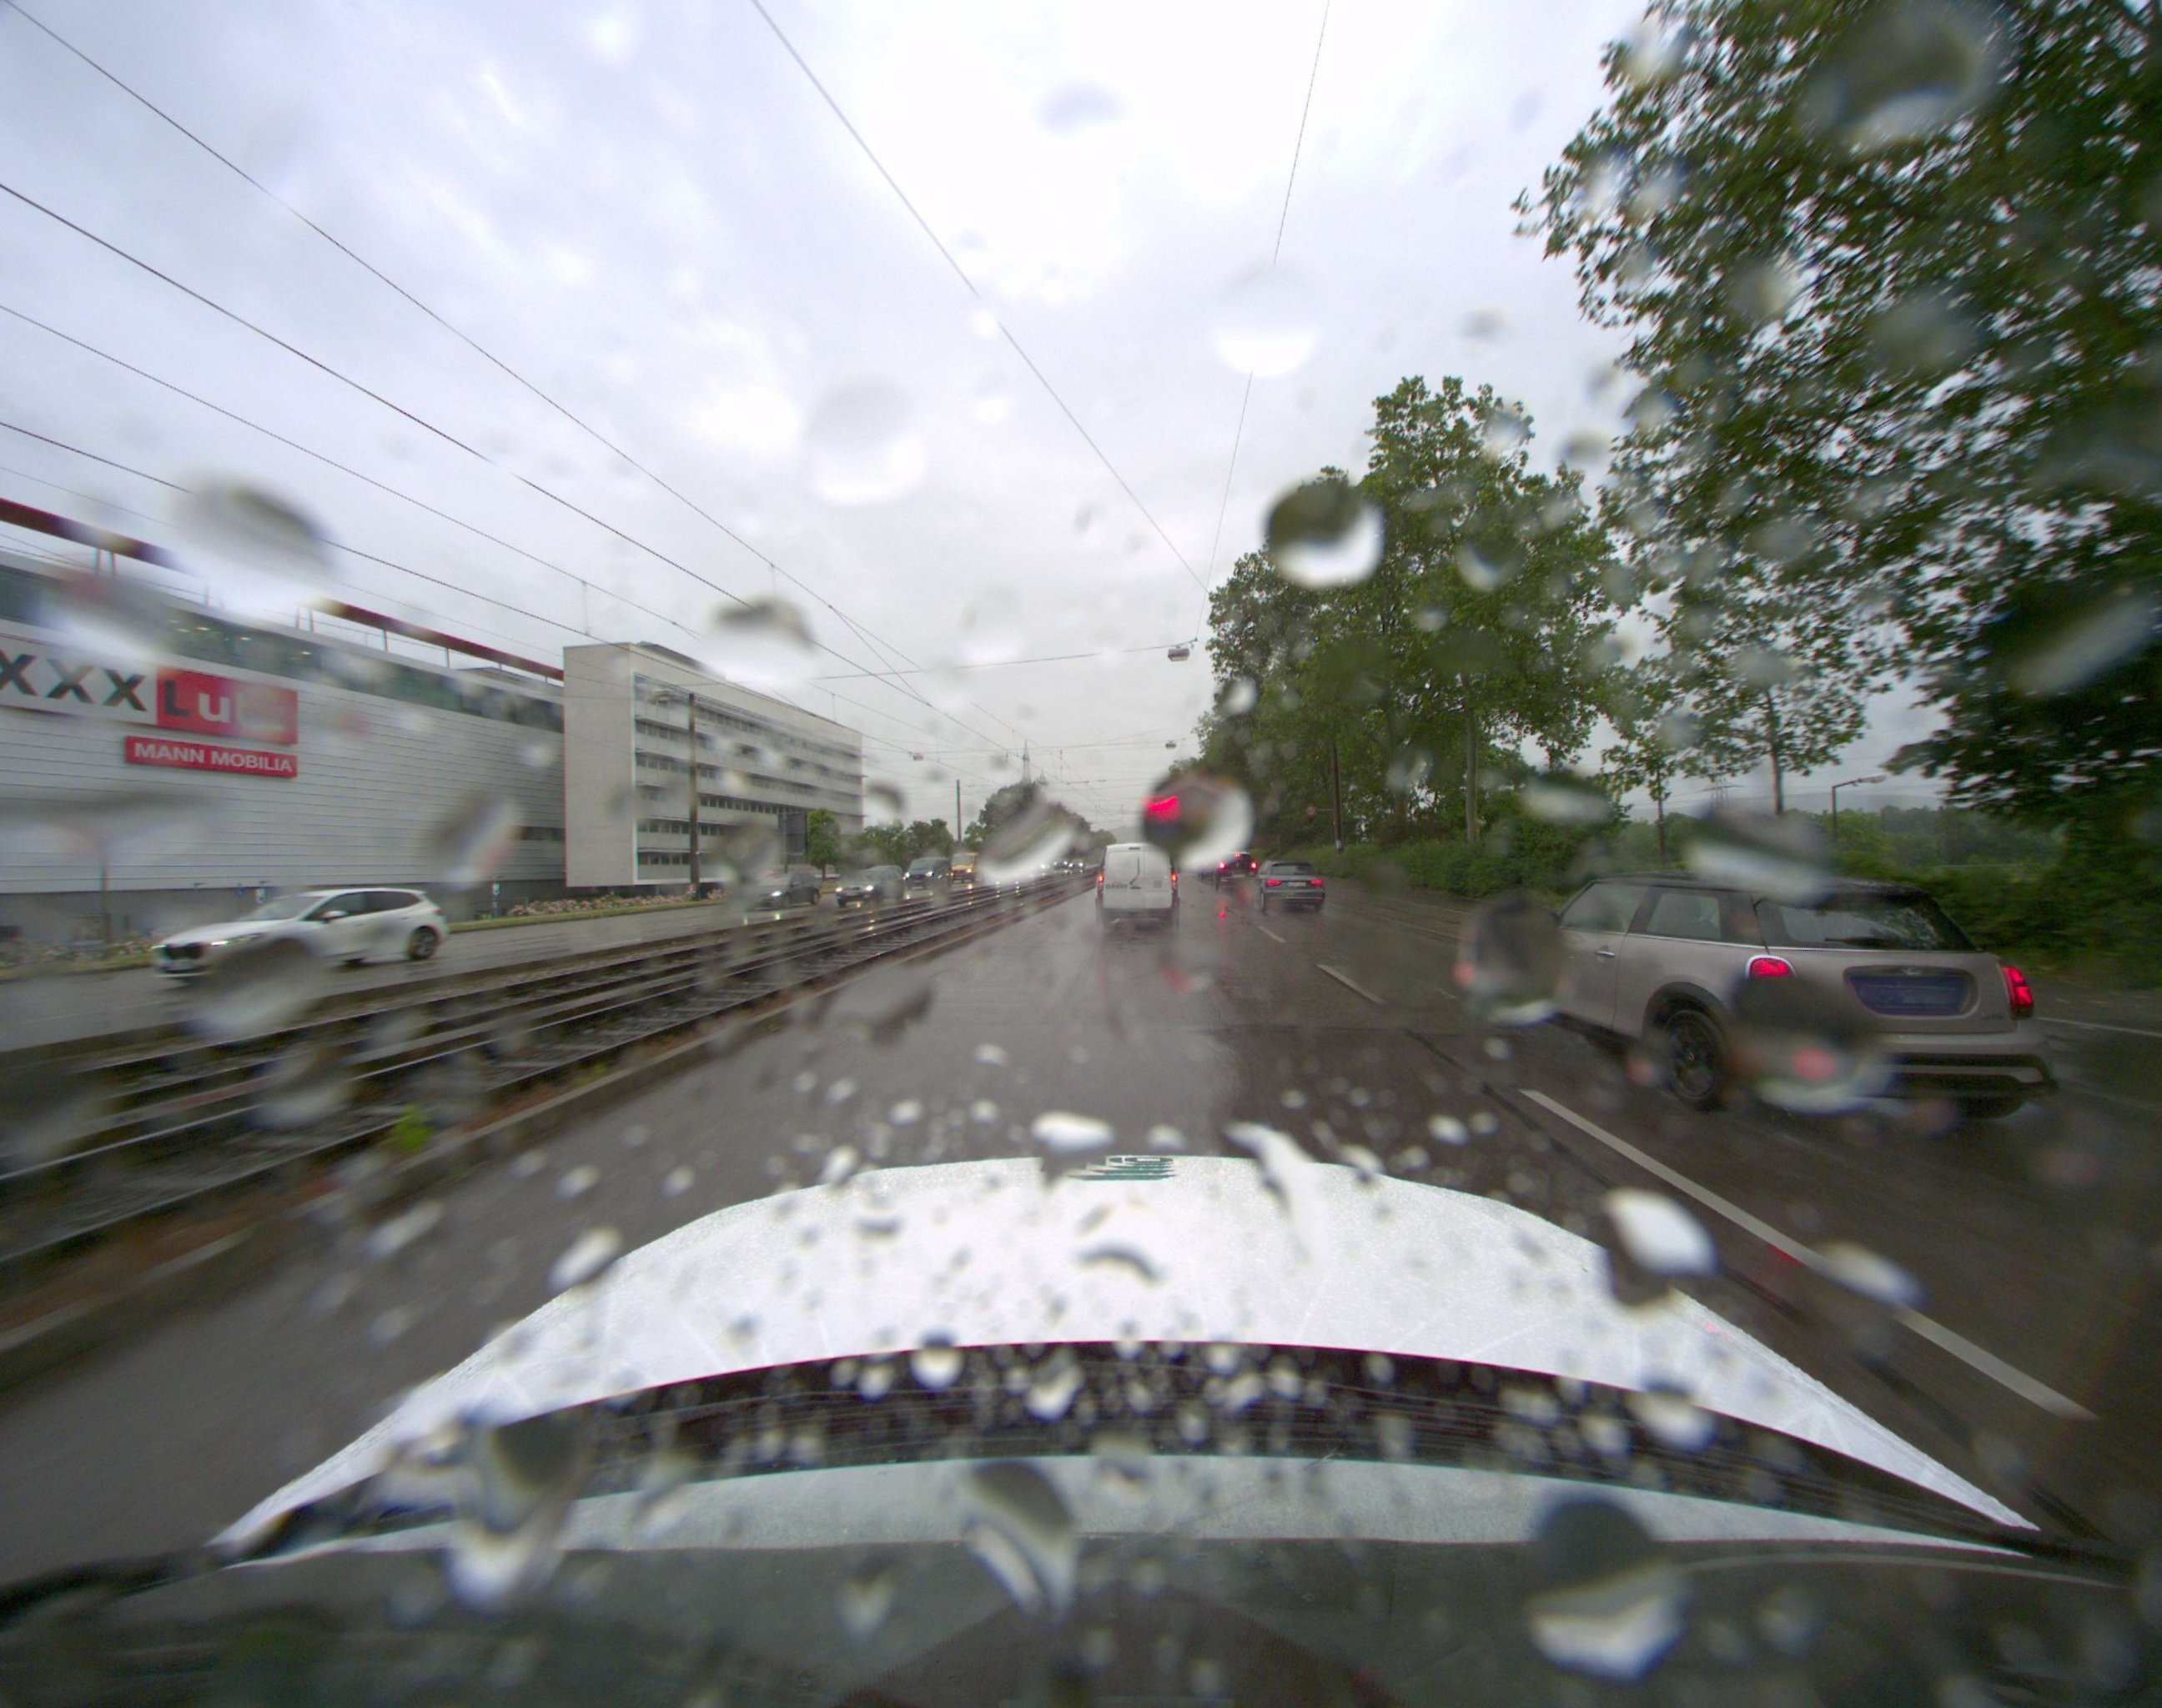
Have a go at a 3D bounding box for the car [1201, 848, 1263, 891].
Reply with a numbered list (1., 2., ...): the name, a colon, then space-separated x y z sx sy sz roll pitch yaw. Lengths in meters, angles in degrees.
1. car: 6.514 0.617 35.587 1.893 1.716 4.727 -1 1 1

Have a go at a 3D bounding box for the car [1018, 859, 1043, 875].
1. car: -5.517 1.373 89.963 1.761 1.682 4.700 0 0 8

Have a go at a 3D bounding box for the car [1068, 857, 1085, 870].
1. car: -0.585 1.302 108.467 1.809 1.623 4.544 -2 0 6

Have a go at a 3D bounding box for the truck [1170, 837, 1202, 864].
1. truck: 11.061 -0.357 86.427 3.097 2.773 6.339 -1 0 6

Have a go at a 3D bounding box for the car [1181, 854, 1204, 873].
1. car: 9.136 0.744 67.035 1.809 1.414 3.786 -1 1 7

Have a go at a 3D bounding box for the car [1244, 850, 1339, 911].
1. car: 5.886 0.678 23.226 1.959 1.528 3.996 -1 1 4

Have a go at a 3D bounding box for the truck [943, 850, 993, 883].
1. truck: -8.968 0.954 65.224 2.214 2.462 6.083 0 0 9

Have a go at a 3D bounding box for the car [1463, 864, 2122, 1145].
1. car: 4.591 0.802 6.165 1.783 1.414 3.857 1 -1 3

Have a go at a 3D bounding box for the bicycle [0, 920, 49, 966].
1. bicycle: -26.084 2.158 19.506 0.665 1.016 1.558 0 0 6

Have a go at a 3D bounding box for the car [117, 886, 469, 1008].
1. car: -15.001 1.659 15.995 1.983 1.834 4.702 -2 -1 7

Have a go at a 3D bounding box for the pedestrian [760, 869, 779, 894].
1. pedestrian: -22.088 1.944 57.819 0.818 1.762 1.052 1 -1 8

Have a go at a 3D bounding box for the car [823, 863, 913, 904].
1. car: -8.778 1.184 34.032 1.983 1.457 4.680 -4 -1 6

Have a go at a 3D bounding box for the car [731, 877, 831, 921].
1. car: -12.420 1.810 34.079 1.953 1.516 4.563 -4 -1 7

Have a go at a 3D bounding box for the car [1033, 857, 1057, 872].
1. car: -4.275 1.276 98.175 1.982 1.583 4.777 -3 0 8

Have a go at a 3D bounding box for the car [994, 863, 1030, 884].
1. car: -5.393 1.526 64.312 1.849 1.494 4.697 -3 -1 6

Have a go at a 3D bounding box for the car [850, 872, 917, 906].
1. car: -10.859 1.898 45.146 1.848 1.618 4.918 -3 -1 8

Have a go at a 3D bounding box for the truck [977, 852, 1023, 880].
1. truck: -7.433 1.045 75.812 2.420 2.458 7.238 0 0 9

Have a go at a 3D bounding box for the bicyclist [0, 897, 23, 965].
1. bicyclist: -26.090 1.851 19.416 0.668 1.589 0.793 0 0 6

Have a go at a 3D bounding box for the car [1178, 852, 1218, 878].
1. car: 6.918 0.644 48.595 1.813 1.414 3.777 -1 1 -1

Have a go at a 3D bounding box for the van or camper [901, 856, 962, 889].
1. van or camper: -9.859 1.163 54.151 2.292 2.013 5.699 0 0 8

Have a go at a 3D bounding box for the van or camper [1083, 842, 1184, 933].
1. van or camper: 1.168 0.630 18.131 1.985 1.784 4.004 0 1 3
